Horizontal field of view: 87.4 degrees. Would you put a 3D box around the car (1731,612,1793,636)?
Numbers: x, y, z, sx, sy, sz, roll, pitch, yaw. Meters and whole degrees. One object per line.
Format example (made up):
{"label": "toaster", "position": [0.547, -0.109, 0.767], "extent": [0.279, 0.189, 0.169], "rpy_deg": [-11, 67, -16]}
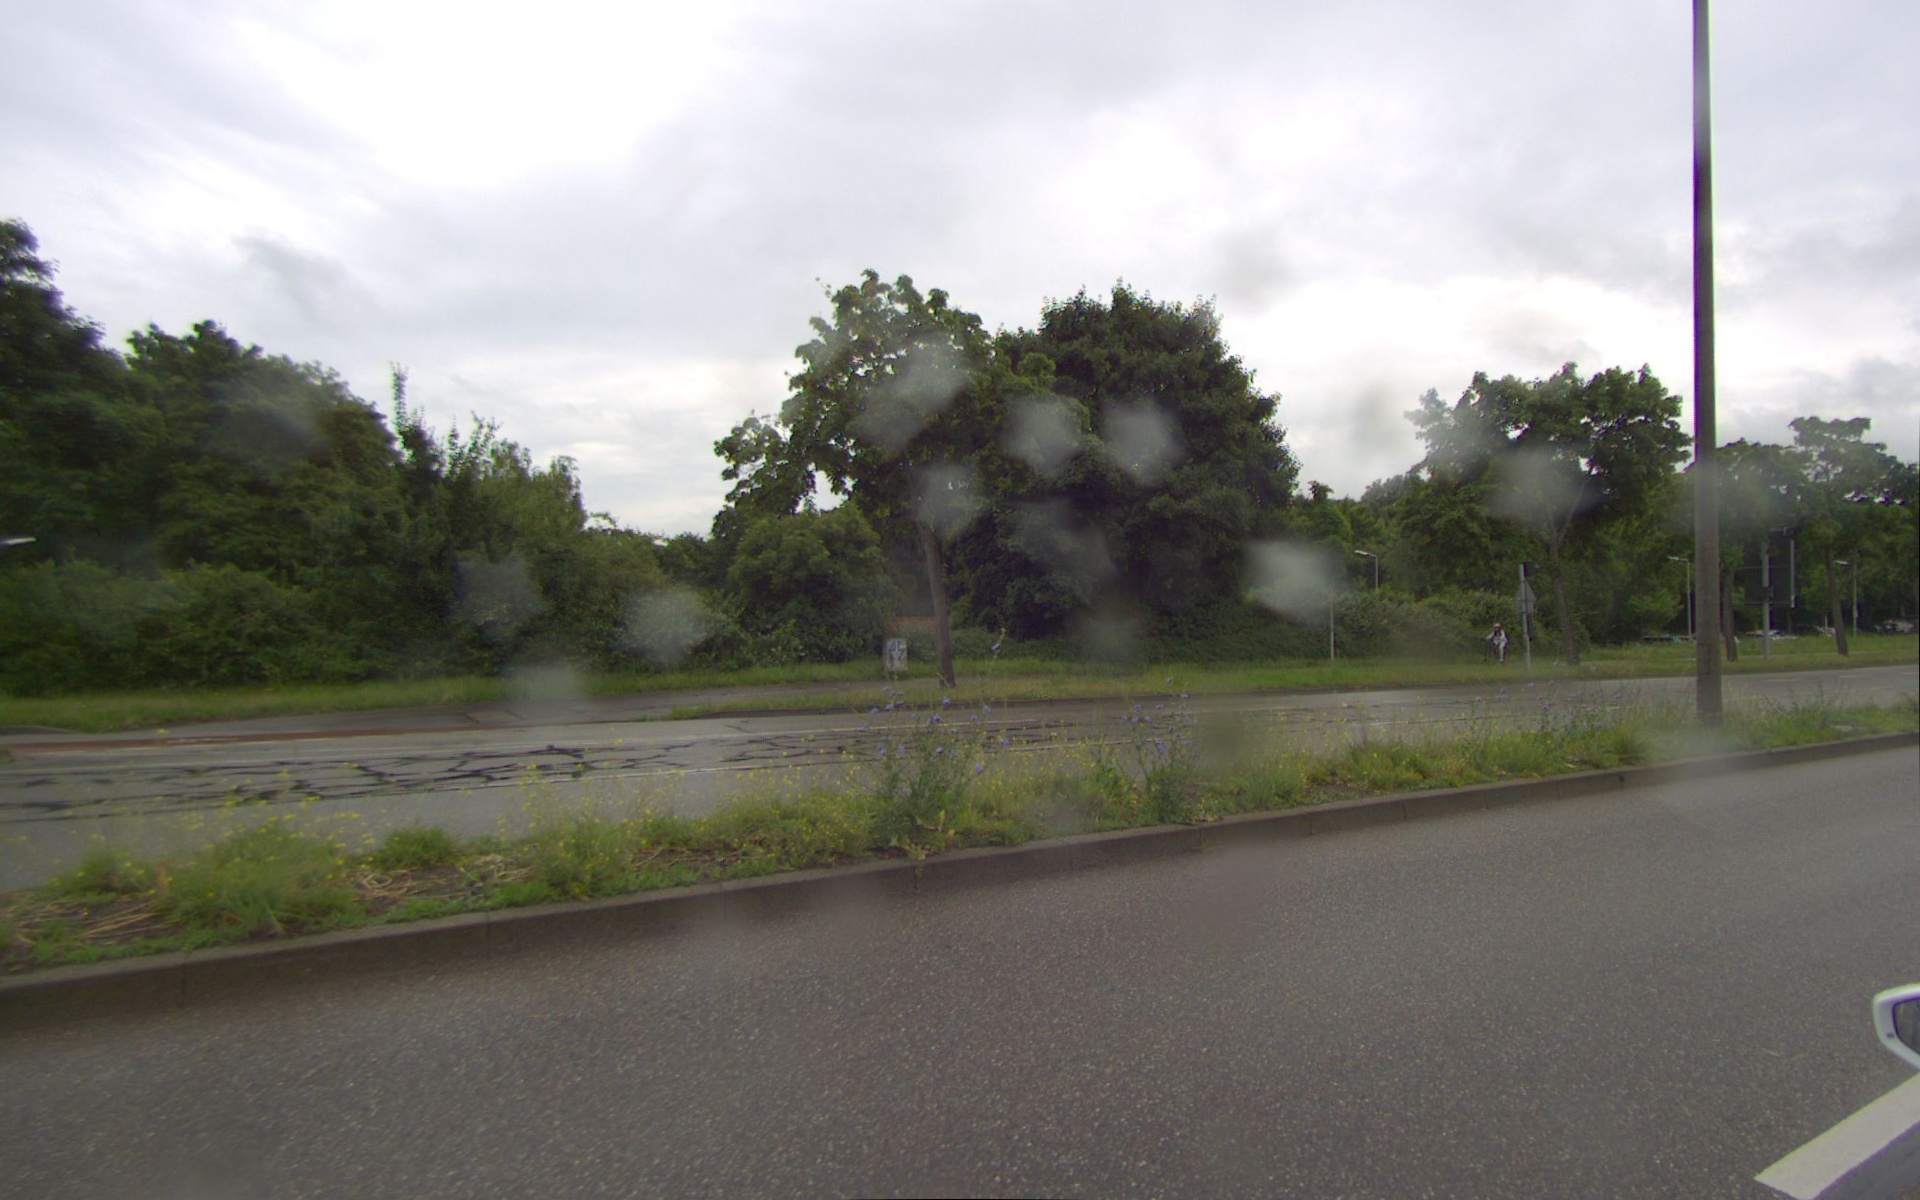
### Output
{"label": "car", "position": [71.124, 2.081, 89.148], "extent": [1.982, 2.040, 3.957], "rpy_deg": [0, -1, -38]}

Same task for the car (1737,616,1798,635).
{"label": "car", "position": [72.858, 2.312, 90.653], "extent": [1.982, 1.639, 3.957], "rpy_deg": [0, 0, -38]}

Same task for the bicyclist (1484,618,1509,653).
{"label": "bicyclist", "position": [20.660, 1.346, 38.682], "extent": [0.799, 1.320, 0.519], "rpy_deg": [1, 0, -31]}

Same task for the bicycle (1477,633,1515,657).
{"label": "bicycle", "position": [20.652, 1.727, 38.682], "extent": [1.614, 0.897, 0.519], "rpy_deg": [1, 0, -31]}

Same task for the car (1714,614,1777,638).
{"label": "car", "position": [68.758, 2.239, 87.973], "extent": [1.982, 2.040, 3.957], "rpy_deg": [0, -1, -38]}

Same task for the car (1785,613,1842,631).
{"label": "car", "position": [82.890, 2.094, 97.556], "extent": [1.894, 1.662, 3.957], "rpy_deg": [0, -1, -38]}

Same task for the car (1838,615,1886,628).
{"label": "car", "position": [98.666, 2.344, 109.845], "extent": [1.475, 1.445, 3.706], "rpy_deg": [0, -1, -37]}

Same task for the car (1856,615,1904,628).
{"label": "car", "position": [104.750, 2.416, 114.355], "extent": [1.511, 1.471, 3.807], "rpy_deg": [0, -1, -37]}
